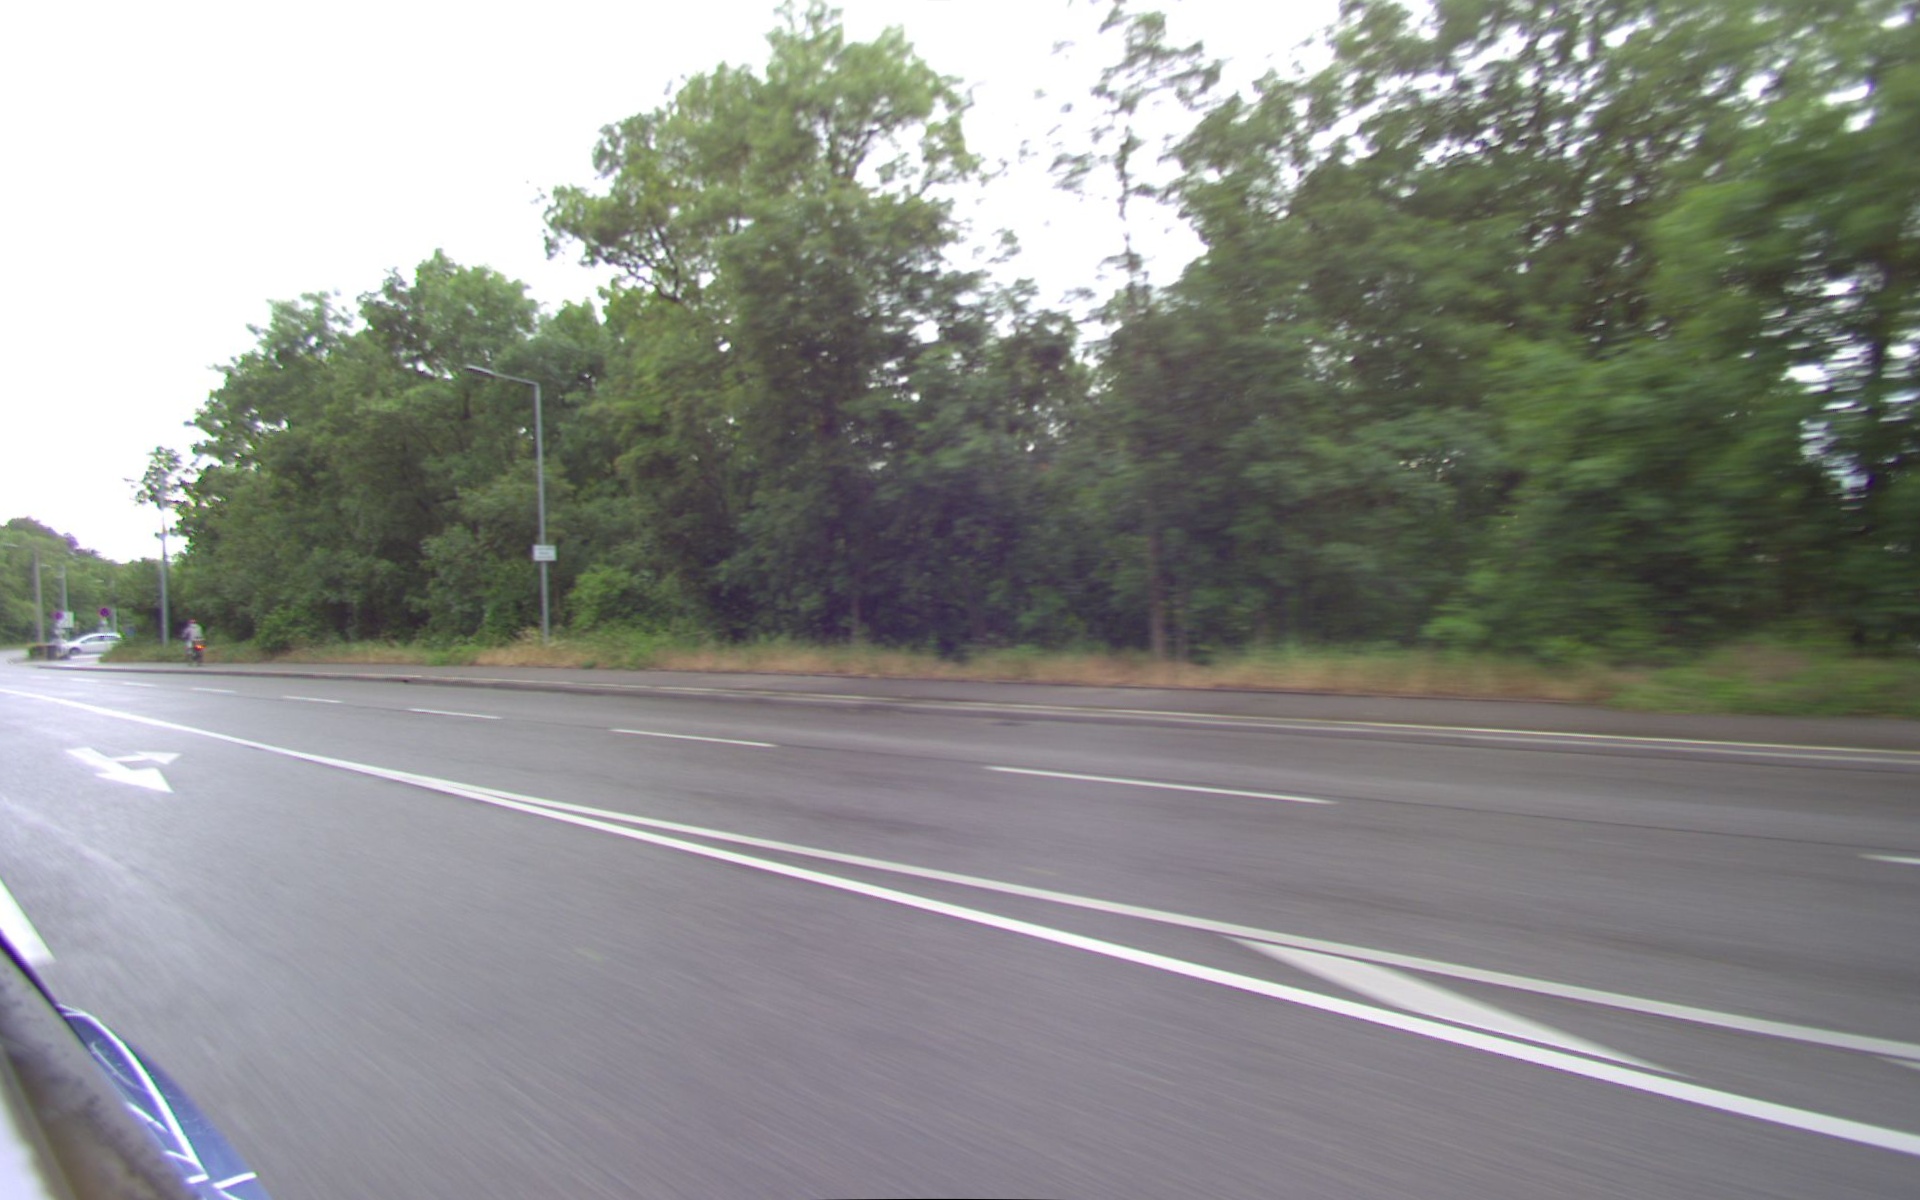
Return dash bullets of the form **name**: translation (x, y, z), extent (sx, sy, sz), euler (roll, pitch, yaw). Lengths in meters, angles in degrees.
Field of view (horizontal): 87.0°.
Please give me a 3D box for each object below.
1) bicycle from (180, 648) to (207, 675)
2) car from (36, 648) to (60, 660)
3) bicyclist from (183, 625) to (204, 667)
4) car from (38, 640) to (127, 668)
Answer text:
- **bicycle**: translation (-30.042, 2.402, 39.661), extent (2.017, 1.011, 0.447), euler (-3, 0, 42)
- **car**: translation (-110.850, 6.552, 123.085), extent (1.828, 1.484, 3.921), euler (1, -3, -37)
- **bicyclist**: translation (-29.974, 1.791, 39.572), extent (0.572, 1.598, 0.701), euler (1, -3, -43)
- **car**: translation (-62.515, 3.822, 72.124), extent (4.686, 1.729, 1.896), euler (-2, 0, -44)
